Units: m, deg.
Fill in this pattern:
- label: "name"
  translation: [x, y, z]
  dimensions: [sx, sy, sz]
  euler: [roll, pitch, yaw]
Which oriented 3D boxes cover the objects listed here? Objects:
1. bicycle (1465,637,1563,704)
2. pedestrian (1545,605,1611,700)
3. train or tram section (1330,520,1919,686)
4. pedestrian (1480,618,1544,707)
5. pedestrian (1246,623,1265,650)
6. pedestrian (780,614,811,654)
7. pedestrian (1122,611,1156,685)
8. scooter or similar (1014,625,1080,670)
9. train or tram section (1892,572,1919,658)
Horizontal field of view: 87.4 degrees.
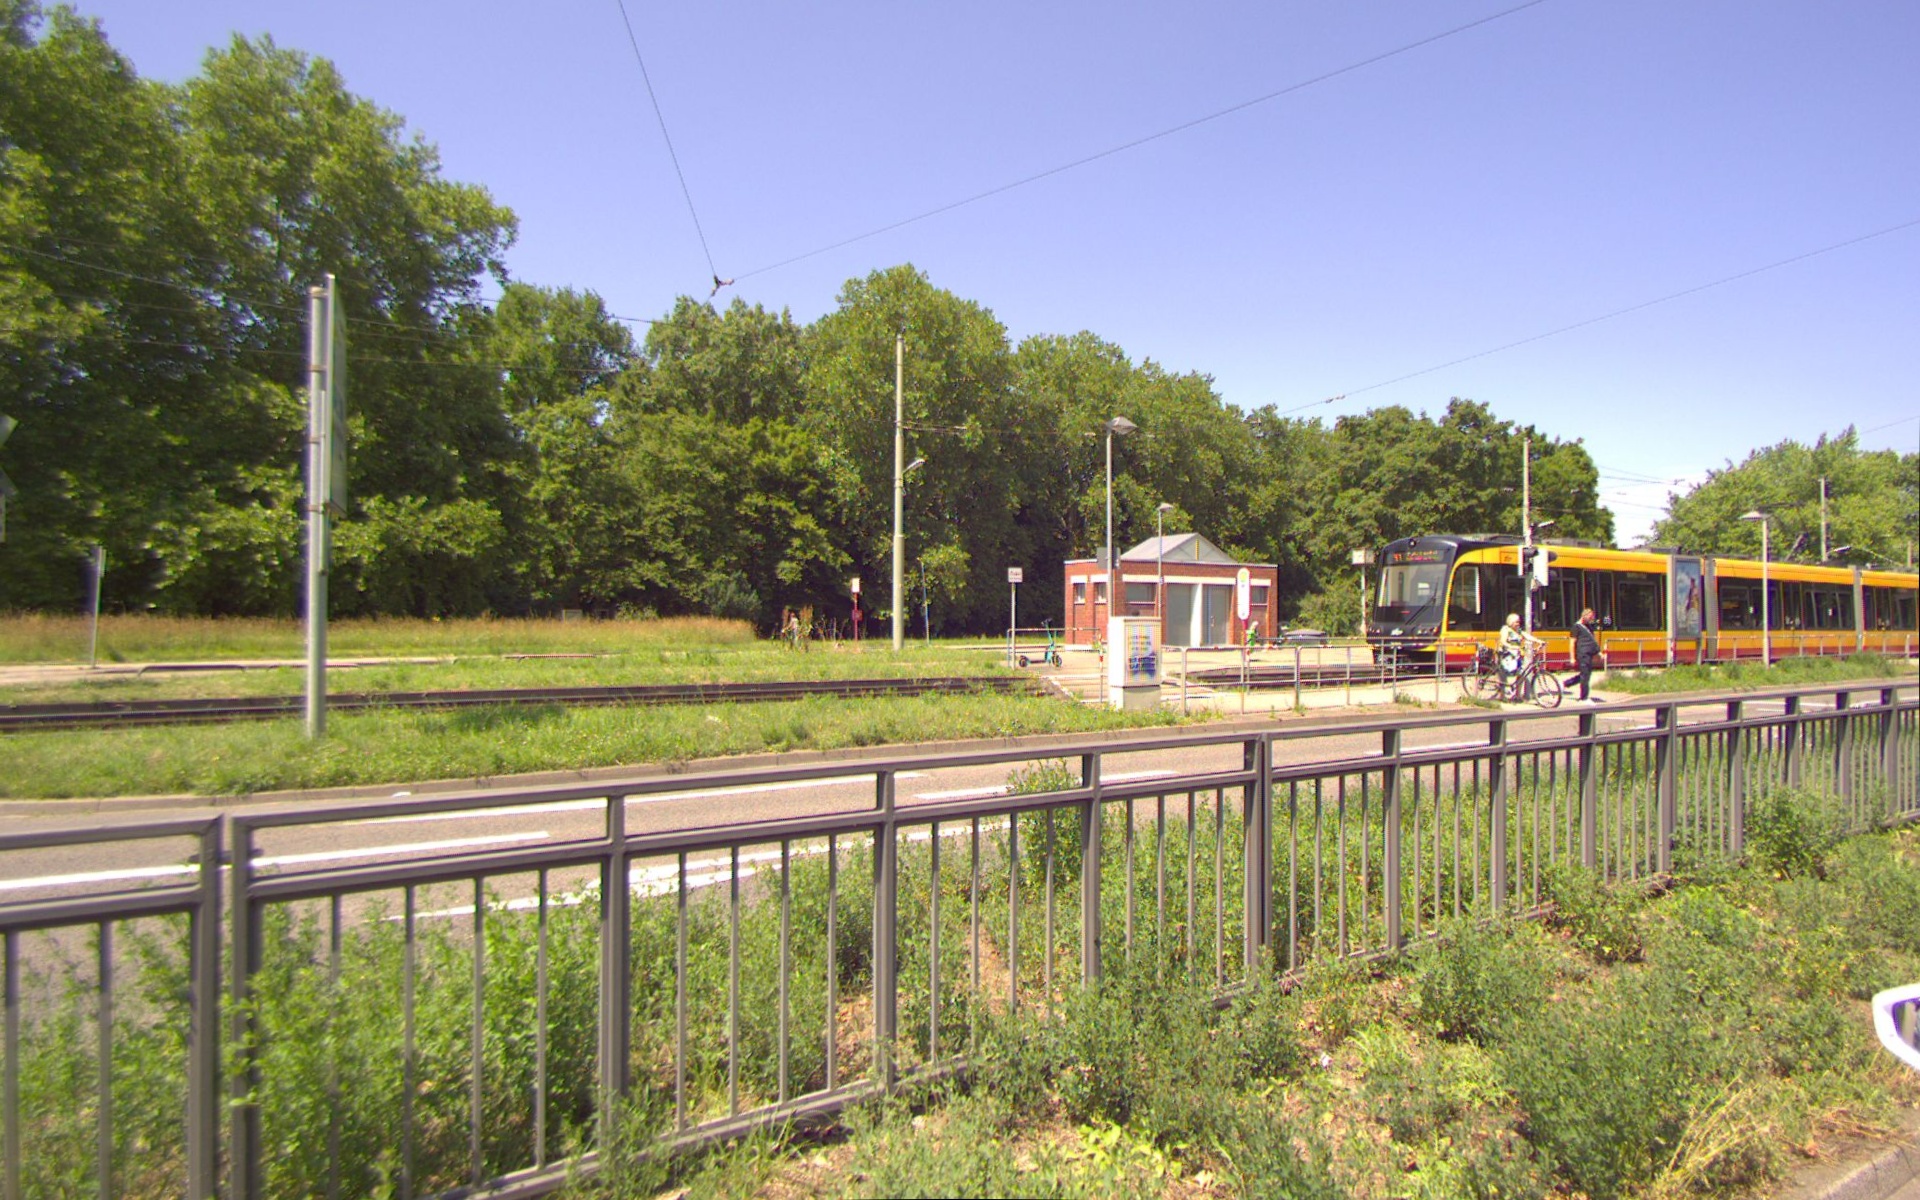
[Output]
- label: "bicycle"
  translation: [10.551, 1.314, 19.204]
  dimensions: [0.239, 1.172, 1.858]
  euler: [1, -1, -25]
- label: "pedestrian"
  translation: [12.250, 1.021, 19.934]
  dimensions: [0.691, 1.820, 0.961]
  euler: [1, 0, -1]
- label: "train or tram section"
  translation: [25.747, 0.355, 33.325]
  dimensions: [37.086, 3.717, 2.774]
  euler: [1, -1, -31]
- label: "pedestrian"
  translation: [10.558, 1.176, 19.235]
  dimensions: [0.696, 1.650, 0.817]
  euler: [1, 0, -25]
- label: "pedestrian"
  translation: [11.328, 1.396, 38.532]
  dimensions: [0.516, 1.032, 0.479]
  euler: [1, 0, -29]
- label: "pedestrian"
  translation: [-7.370, 1.517, 44.904]
  dimensions: [1.245, 1.724, 0.517]
  euler: [1, 0, 15]
- label: "pedestrian"
  translation: [3.870, 1.029, 21.758]
  dimensions: [0.527, 1.561, 0.869]
  euler: [0, 0, -3]
- label: "scooter or similar"
  translation: [2.297, 1.246, 26.540]
  dimensions: [1.640, 1.142, 0.613]
  euler: [1, 0, 14]
- label: "train or tram section"
  translation: [52.618, 0.848, 49.571]
  dimensions: [25.700, 3.717, 2.774]
  euler: [1, -1, -31]
